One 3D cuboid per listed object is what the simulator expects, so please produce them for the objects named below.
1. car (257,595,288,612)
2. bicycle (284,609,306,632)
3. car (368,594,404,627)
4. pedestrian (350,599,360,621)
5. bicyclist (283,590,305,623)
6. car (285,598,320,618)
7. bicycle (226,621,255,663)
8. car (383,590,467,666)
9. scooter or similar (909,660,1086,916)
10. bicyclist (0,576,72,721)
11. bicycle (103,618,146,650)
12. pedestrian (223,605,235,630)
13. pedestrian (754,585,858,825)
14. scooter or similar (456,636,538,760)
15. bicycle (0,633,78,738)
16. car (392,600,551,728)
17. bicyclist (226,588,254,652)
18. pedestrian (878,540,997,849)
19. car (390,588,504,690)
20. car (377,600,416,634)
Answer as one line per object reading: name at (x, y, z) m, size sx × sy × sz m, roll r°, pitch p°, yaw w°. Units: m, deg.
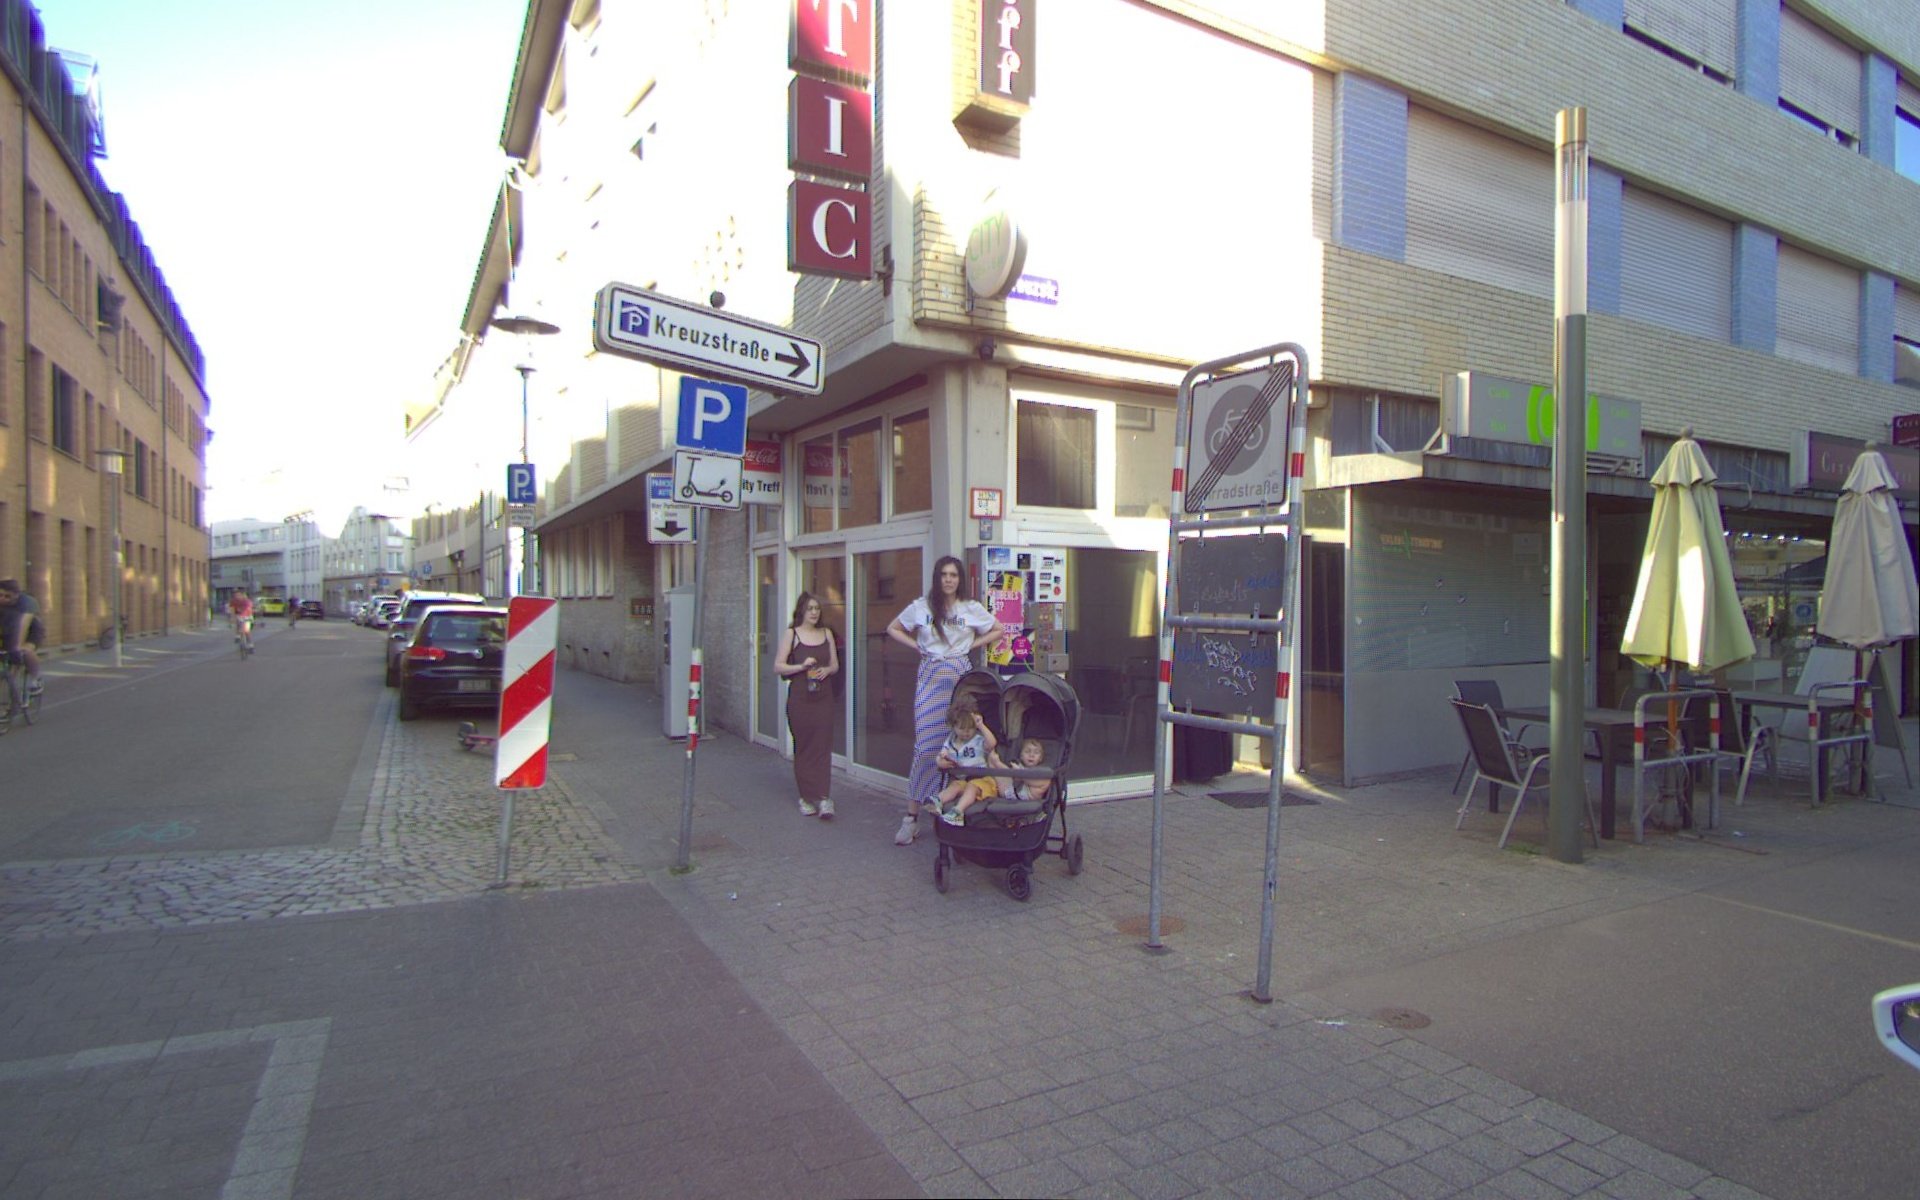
car at (-67.302, 0.329, 98.328) m, size 1.922 × 1.673 × 3.788 m, roll 2°, pitch -1°, yaw -43°
bicycle at (-34.935, 1.069, 52.757) m, size 0.696 × 1.118 × 1.815 m, roll -3°, pitch 2°, yaw -27°
car at (-33.379, 0.615, 58.396) m, size 1.675 × 1.798 × 3.625 m, roll 3°, pitch -2°, yaw -31°
pedestrian at (-42.869, 0.710, 71.146) m, size 0.566 × 1.499 × 0.469 m, roll 0°, pitch 0°, yaw -37°
bicyclist at (-34.978, 0.333, 52.759) m, size 0.763 × 1.678 × 0.950 m, roll -3°, pitch 1°, yaw -28°
car at (-56.577, 0.710, 86.434) m, size 1.922 × 1.673 × 3.788 m, roll 0°, pitch 0°, yaw -43°
bicycle at (-17.509, 1.009, 24.466) m, size 0.431 × 0.970 × 1.578 m, roll 0°, pitch 0°, yaw -30°
car at (-13.350, 0.675, 25.000) m, size 1.654 × 1.727 × 3.981 m, roll 3°, pitch -2°, yaw -29°
scooter or similar at (0.236, 0.943, 5.410) m, size 0.783 × 1.159 × 0.954 m, roll 0°, pitch 1°, yaw 13°
bicyclist at (-10.835, 0.540, 11.505) m, size 0.641 × 1.579 × 1.102 m, roll -3°, pitch 2°, yaw -26°
bicycle at (-25.244, 1.022, 30.387) m, size 0.636 × 0.893 × 2.534 m, roll 1°, pitch -1°, yaw -32°
pedestrian at (-46.229, 1.103, 63.535) m, size 0.537 × 1.565 × 0.402 m, roll 1°, pitch 0°, yaw -31°
pedestrian at (-1.095, 0.710, 7.115) m, size 0.527 × 1.601 × 0.507 m, roll -3°, pitch 1°, yaw -28°
scooter or similar at (-4.681, 0.975, 10.151) m, size 0.865 × 1.199 × 0.208 m, roll 0°, pitch 0°, yaw 21°
bicycle at (-10.836, 0.948, 11.564) m, size 0.566 × 1.065 × 1.824 m, roll -1°, pitch 0°, yaw -26°
car at (-6.944, 0.800, 14.108) m, size 1.720 × 1.505 × 3.781 m, roll 3°, pitch -1°, yaw -29°
bicyclist at (-17.501, 0.480, 24.434) m, size 0.423 × 1.518 × 0.868 m, roll -2°, pitch 1°, yaw -31°
pedestrian at (-0.132, 0.571, 6.349) m, size 0.647 × 1.844 × 0.571 m, roll -2°, pitch 1°, yaw 0°
car at (-9.629, 0.691, 18.749) m, size 1.654 × 1.683 × 4.049 m, roll 3°, pitch -2°, yaw -29°
car at (-30.149, 0.912, 53.687) m, size 1.675 × 1.701 × 3.478 m, roll 3°, pitch -2°, yaw -31°
